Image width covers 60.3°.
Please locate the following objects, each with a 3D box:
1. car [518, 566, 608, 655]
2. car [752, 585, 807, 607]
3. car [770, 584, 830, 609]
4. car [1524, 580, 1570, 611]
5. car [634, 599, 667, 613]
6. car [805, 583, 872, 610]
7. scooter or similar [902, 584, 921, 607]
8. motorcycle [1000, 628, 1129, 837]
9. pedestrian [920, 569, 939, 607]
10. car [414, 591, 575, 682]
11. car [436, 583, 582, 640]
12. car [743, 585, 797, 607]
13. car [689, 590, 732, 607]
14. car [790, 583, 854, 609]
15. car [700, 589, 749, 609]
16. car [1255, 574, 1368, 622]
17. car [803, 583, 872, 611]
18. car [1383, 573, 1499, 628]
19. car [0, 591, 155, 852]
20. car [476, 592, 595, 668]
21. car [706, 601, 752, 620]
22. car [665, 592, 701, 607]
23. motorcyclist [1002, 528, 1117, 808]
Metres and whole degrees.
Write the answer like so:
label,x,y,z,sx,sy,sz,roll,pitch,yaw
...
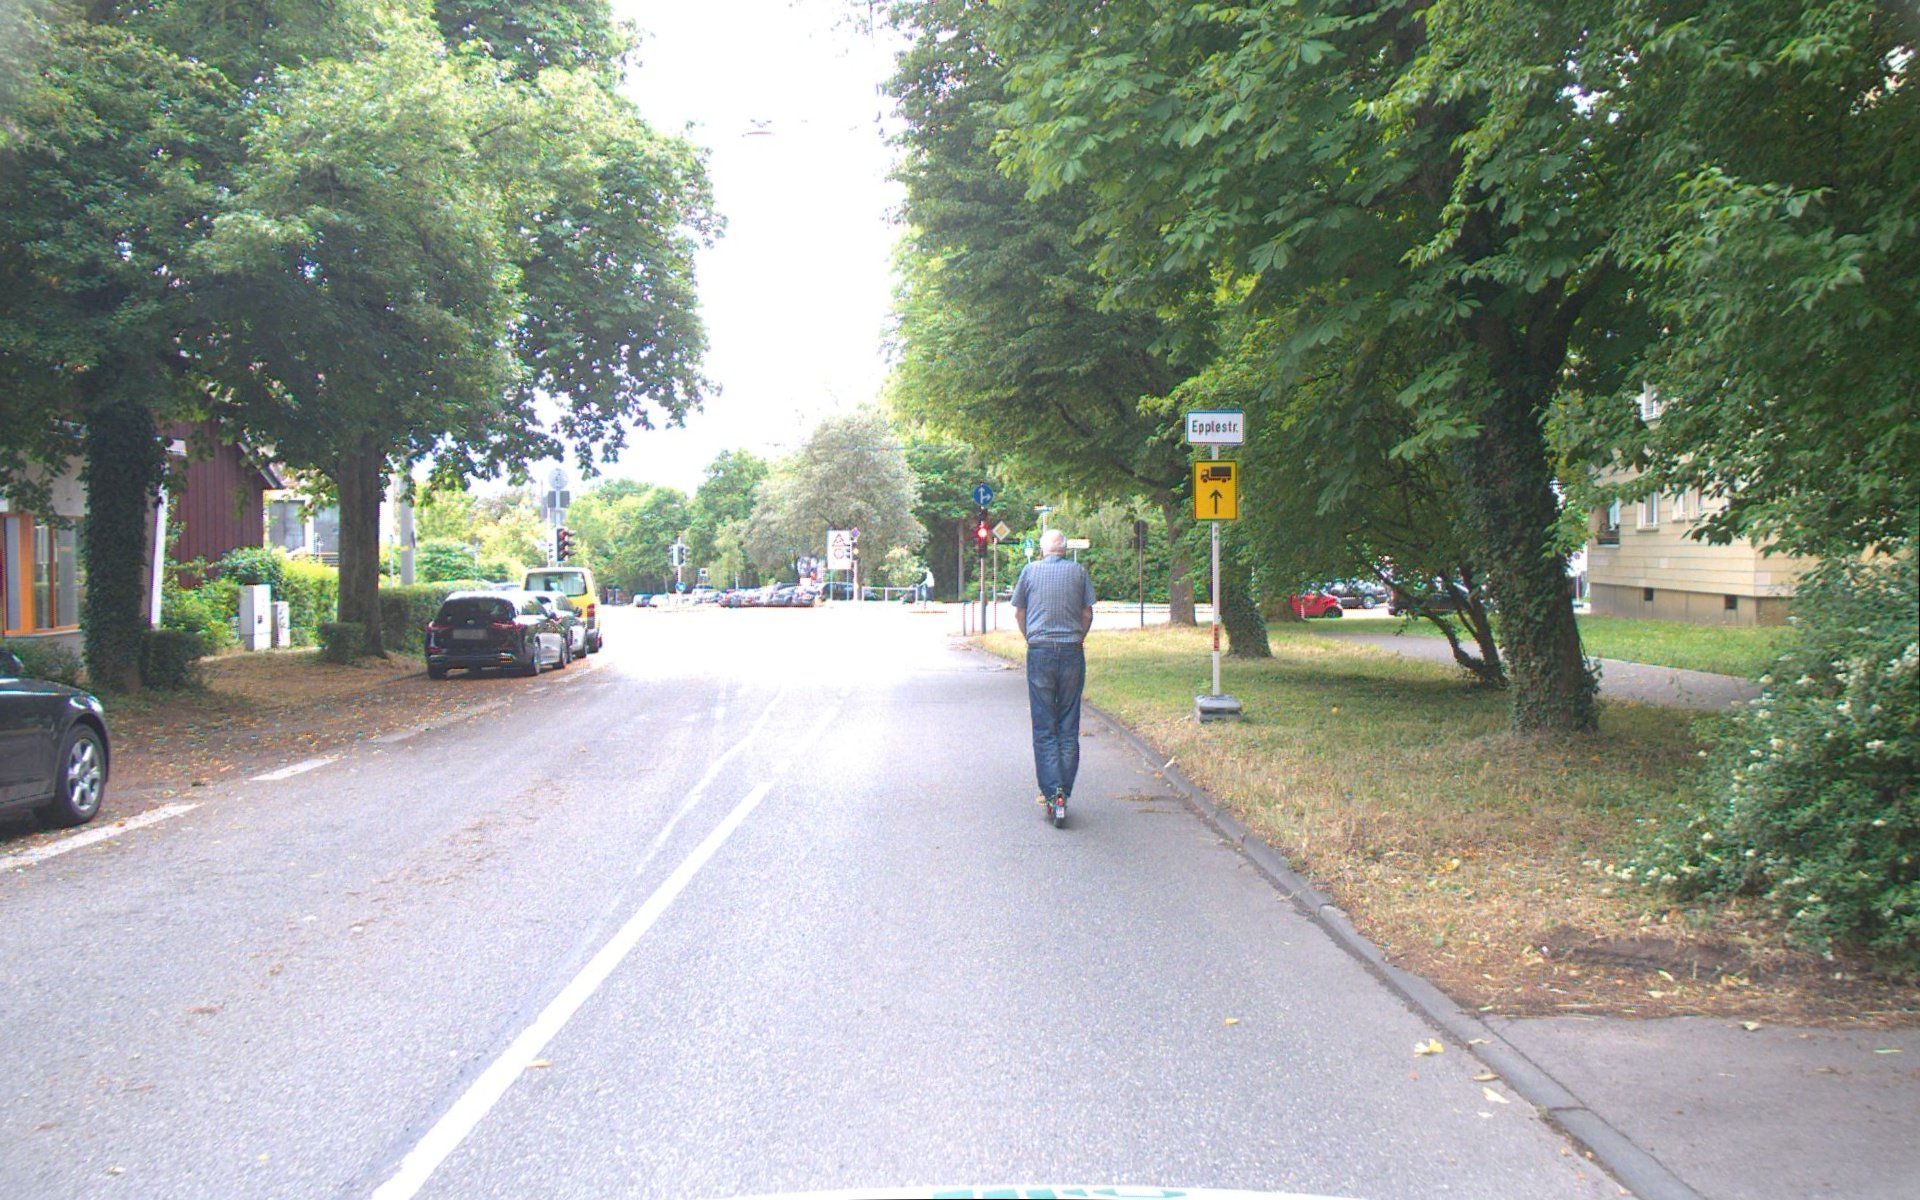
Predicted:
label,x,y,z,sx,sy,sz,roll,pitch,yaw
car,-9.540,0.233,39.992,1.824,1.998,4.493,-1,0,-10
car,-13.186,-0.307,120.762,3.912,1.536,1.797,-1,0,-8
car,-10.656,-0.249,110.248,3.912,1.536,1.797,-1,0,-8
car,29.988,-0.255,84.549,2.039,1.537,4.002,-1,0,17
car,-38.937,0.750,208.213,3.912,1.536,1.797,-1,0,-8
car,-7.360,-0.195,100.132,3.912,1.536,1.797,-1,0,-8
scooter or similar,-2.291,-0.196,77.901,0.695,1.067,0.788,-1,0,14
motorcycle,0.657,0.822,10.759,0.659,1.239,1.273,1,0,-4
pedestrian,-1.448,-0.562,77.718,0.716,1.792,0.662,-1,0,14
car,-8.109,0.589,29.195,1.855,1.435,4.549,-1,0,-5
car,-13.043,0.323,48.022,3.915,1.536,1.796,0,2,-11
car,-14.071,-0.313,122.581,3.912,1.536,1.797,-1,0,-8
car,-23.650,-0.123,156.740,3.912,1.536,1.797,-1,0,-8
car,-8.643,-0.229,103.579,3.912,1.536,1.797,-1,0,-8
car,-19.405,-0.097,136.504,3.912,1.536,1.797,-1,0,-8
car,12.955,-0.093,61.130,3.902,1.584,1.802,1,3,7
car,-7.169,-0.185,96.559,3.912,1.536,1.797,-1,0,-8
car,17.469,-0.009,60.105,3.905,1.756,1.801,2,4,20
car,-6.174,0.693,8.799,1.759,1.435,4.641,-1,1,-4
car,-8.754,0.574,34.402,1.760,1.440,4.184,-1,1,-6
car,-19.945,0.883,143.101,3.912,1.536,1.797,-1,0,-8
car,-31.202,-0.040,186.570,3.912,1.536,1.797,-1,0,-8
motorcyclist,0.649,0.439,10.972,0.659,1.792,0.638,1,0,-4
